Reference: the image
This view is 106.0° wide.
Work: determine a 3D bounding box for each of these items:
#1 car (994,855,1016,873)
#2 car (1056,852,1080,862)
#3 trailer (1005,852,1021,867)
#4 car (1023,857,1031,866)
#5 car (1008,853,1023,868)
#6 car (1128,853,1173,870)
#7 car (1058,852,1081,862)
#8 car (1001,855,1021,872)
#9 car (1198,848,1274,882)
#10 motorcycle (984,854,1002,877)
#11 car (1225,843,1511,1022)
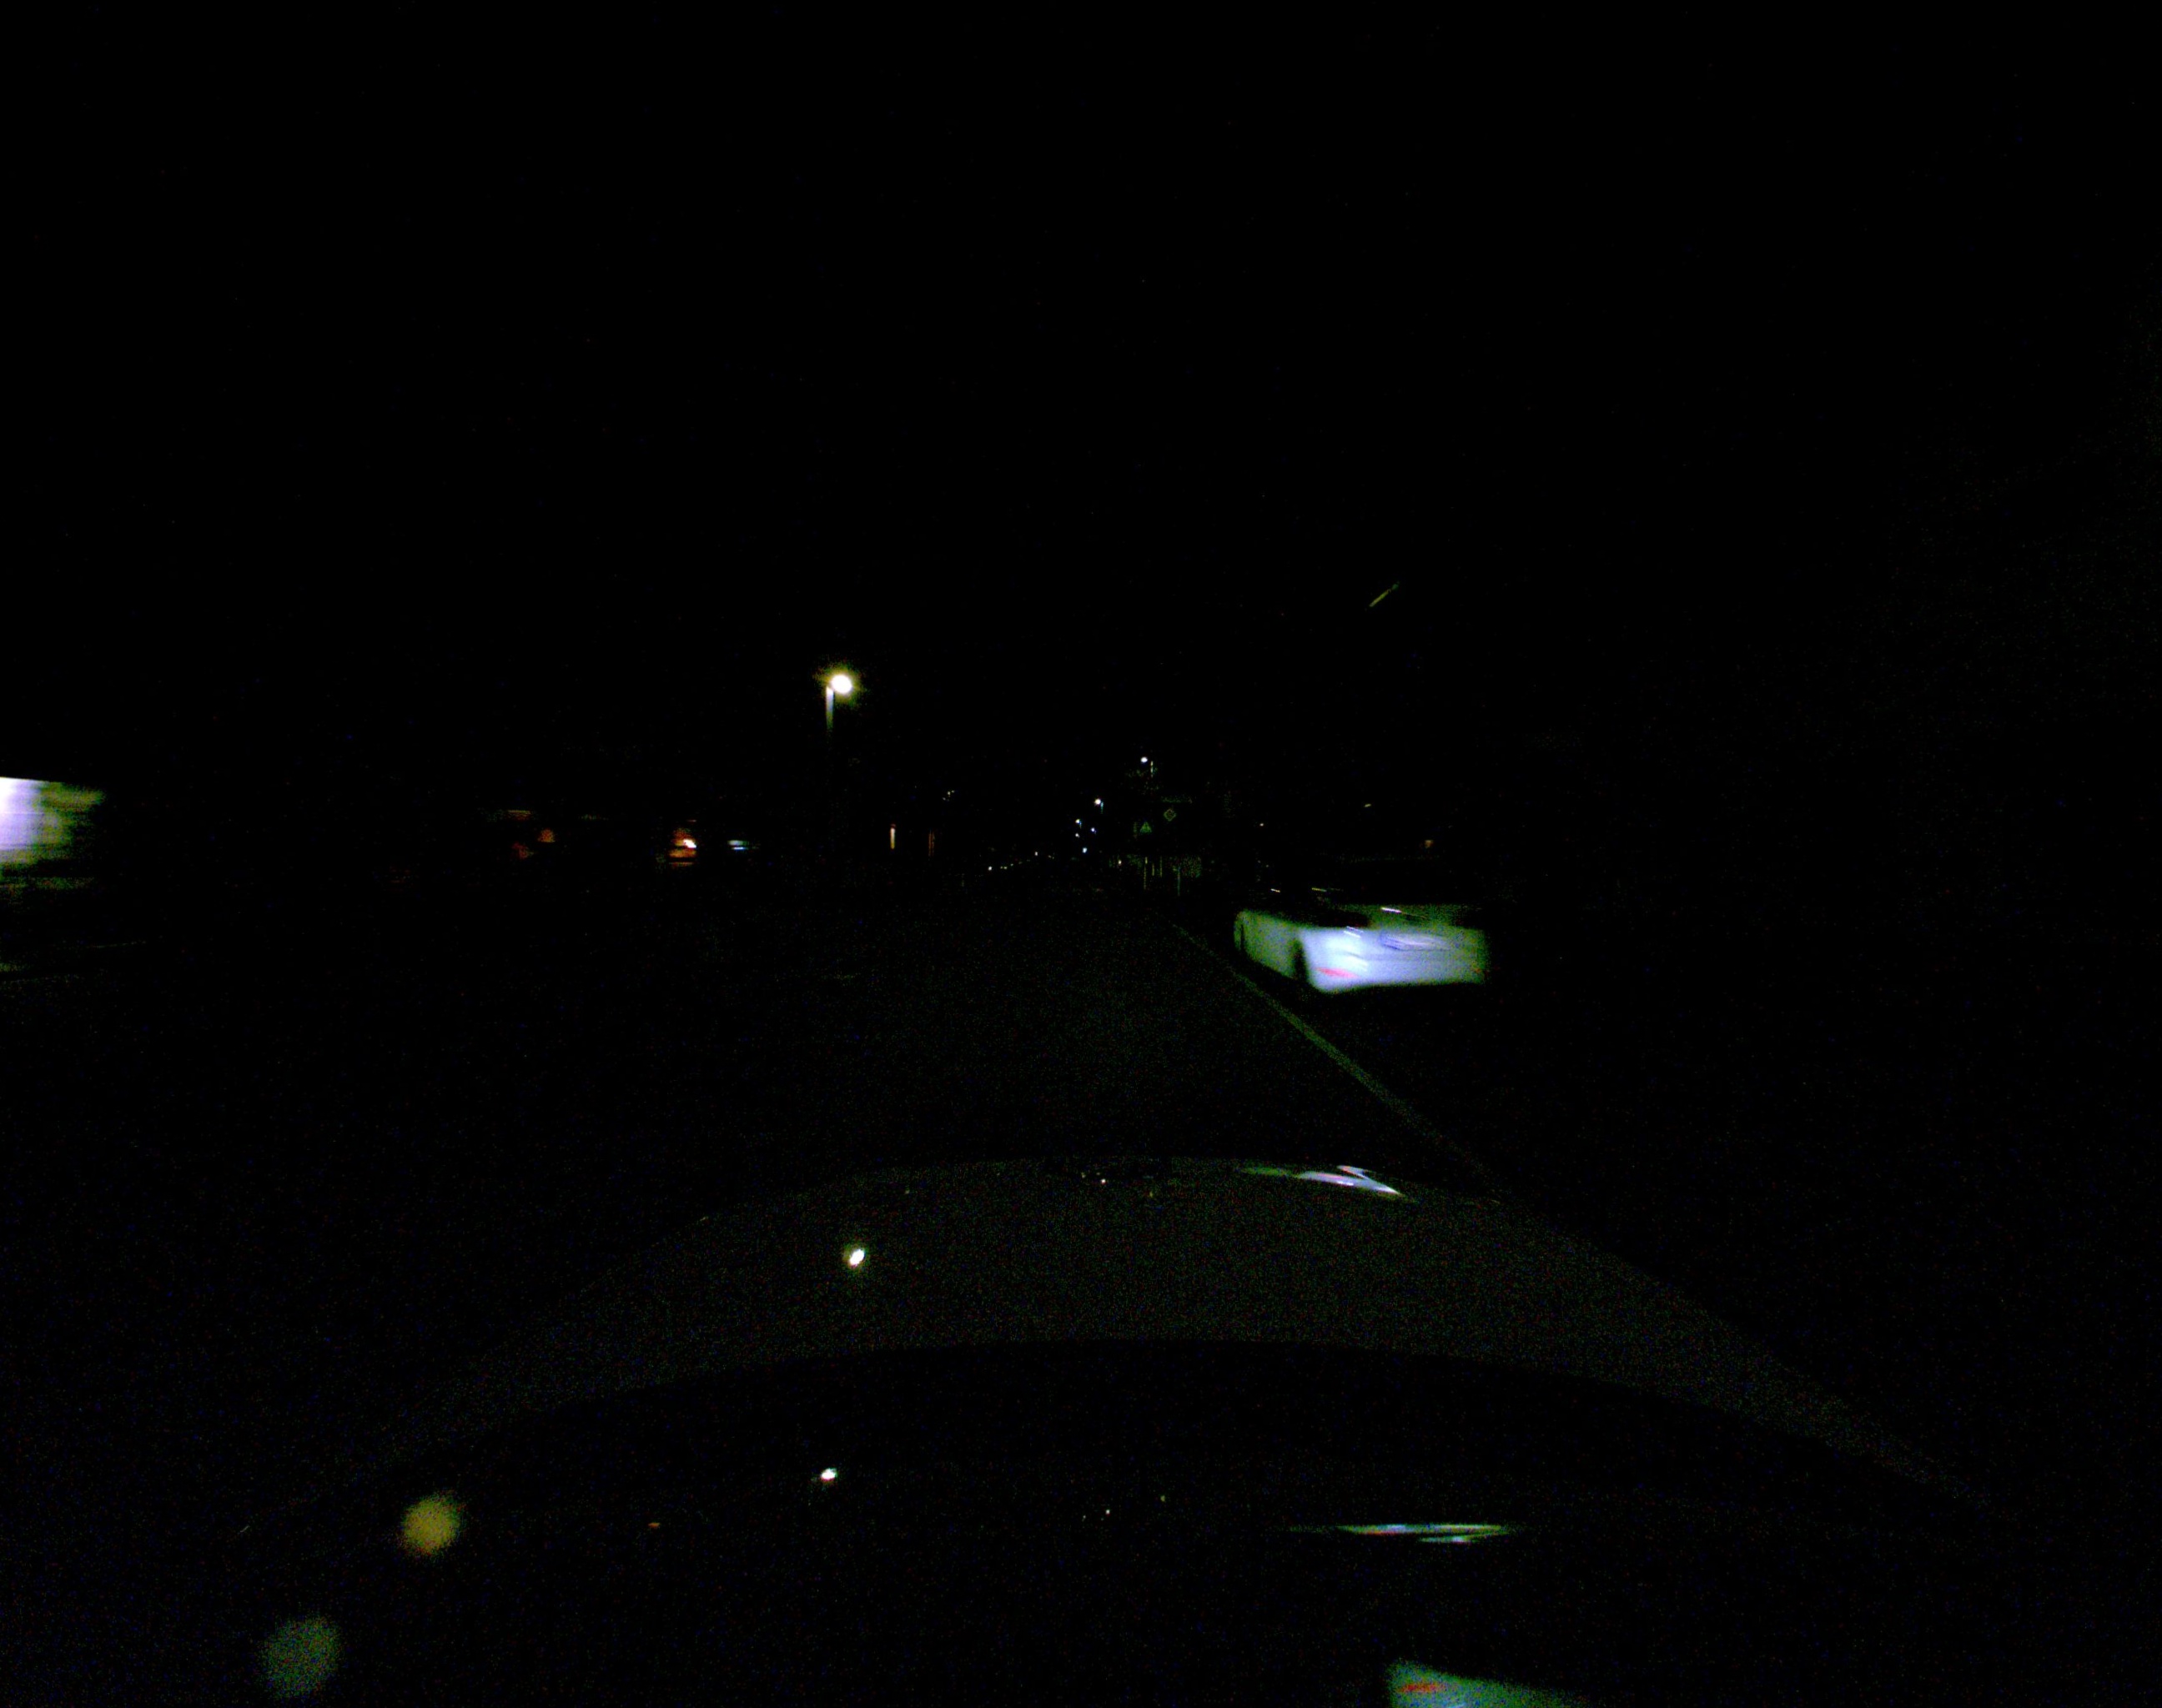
[{"bbox_3d":[-6.767,0.871,72.721,1.684,1.510,4.275,0,0,-2],"label":"car"},{"bbox_3d":[-2.816,0.670,178.549,5.173,2.013,2.098,-2,0,-5],"label":"car"},{"bbox_3d":[-7.918,0.639,95.158,1.443,1.688,3.425,2,0,0],"label":"trailer"},{"bbox_3d":[-13.404,1.769,201.577,1.821,1.987,4.457,2,-3,-4],"label":"car"},{"bbox_3d":[-7.382,0.712,91.955,1.668,1.522,2.974,2,0,-4],"label":"car"},{"bbox_3d":[5.981,0.653,70.134,3.700,1.473,1.730,0,-1,-1],"label":"car"},{"bbox_3d":[-2.579,0.654,181.634,5.173,2.013,2.098,-2,0,-5],"label":"car"},{"bbox_3d":[-6.696,0.895,77.964,1.762,1.519,4.274,1,0,-3],"label":"car"},{"bbox_3d":[8.095,0.571,42.782,3.499,1.525,1.818,-3,0,-4],"label":"car"},{"bbox_3d":[-5.751,0.747,53.578,0.742,1.452,2.199,0,0,6],"label":"motorcycle"},{"bbox_3d":[2.949,0.697,9.404,1.738,1.569,4.206,-1,0,-1],"label":"car"}]
